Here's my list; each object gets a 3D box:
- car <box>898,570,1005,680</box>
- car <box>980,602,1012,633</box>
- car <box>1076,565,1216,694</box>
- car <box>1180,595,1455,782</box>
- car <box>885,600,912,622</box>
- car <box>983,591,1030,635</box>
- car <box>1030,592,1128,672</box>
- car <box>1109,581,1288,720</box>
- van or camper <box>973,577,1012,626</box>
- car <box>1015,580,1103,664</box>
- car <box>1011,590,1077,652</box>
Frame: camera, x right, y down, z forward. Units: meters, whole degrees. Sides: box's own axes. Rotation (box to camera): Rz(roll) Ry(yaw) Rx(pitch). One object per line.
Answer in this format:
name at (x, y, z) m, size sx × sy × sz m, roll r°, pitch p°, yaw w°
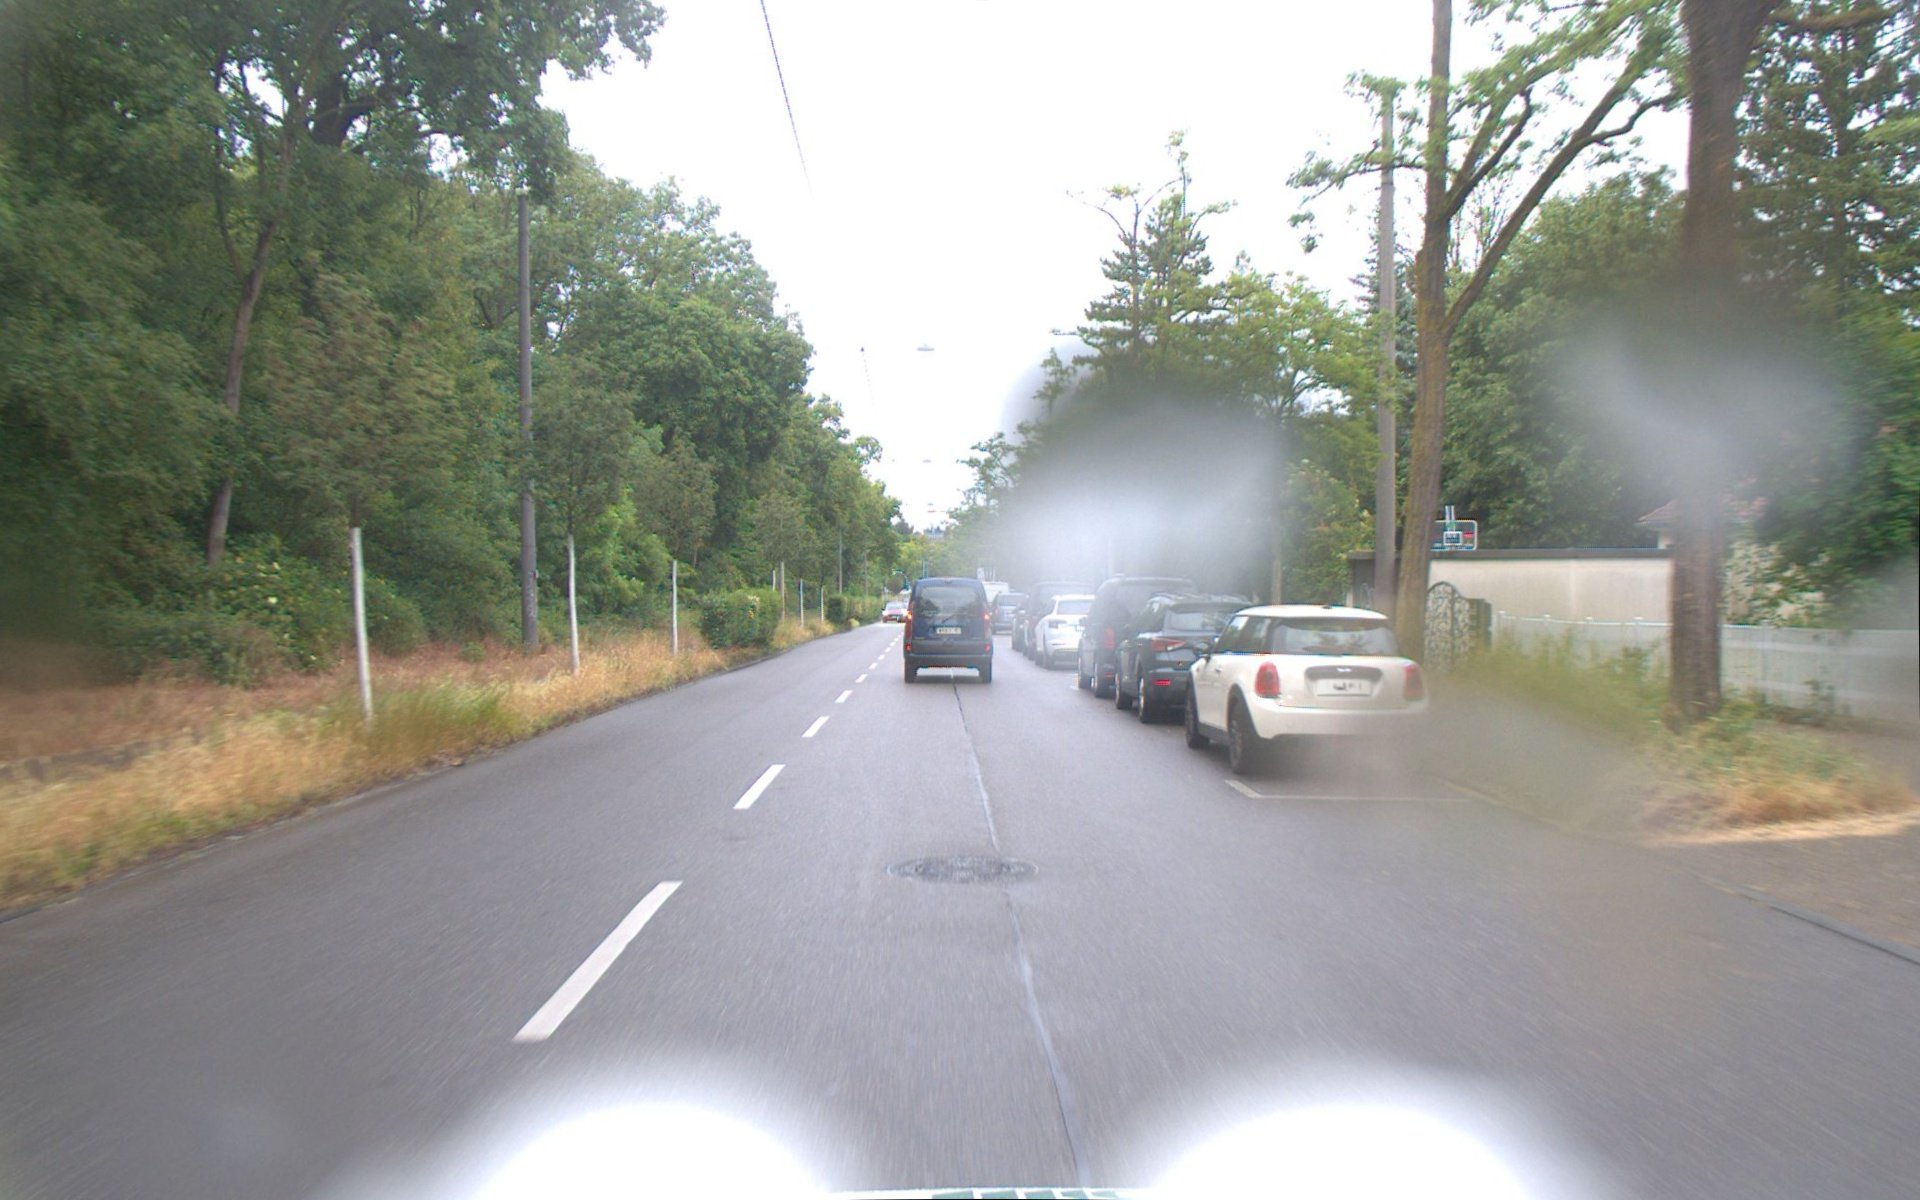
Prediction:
car at (-0.215, 0.417, 30.391) m, size 1.732 × 1.862 × 3.539 m, roll 1°, pitch 0°, yaw -4°
car at (1.906, 0.907, 86.713) m, size 1.592 × 1.489 × 3.809 m, roll 1°, pitch 1°, yaw 2°
car at (2.896, 0.412, 26.599) m, size 1.695 × 1.879 × 4.229 m, roll 1°, pitch 1°, yaw -1°
car at (3.201, 0.725, 15.512) m, size 1.702 × 1.490 × 3.724 m, roll 1°, pitch 1°, yaw -1°
car at (-4.372, 0.784, 118.077) m, size 1.822 × 1.506 × 4.156 m, roll -1°, pitch 0°, yaw 0°
car at (2.047, 0.572, 73.653) m, size 1.778 × 1.845 × 4.281 m, roll 1°, pitch 1°, yaw -3°
car at (2.621, 0.678, 37.254) m, size 1.768 × 1.641 × 4.285 m, roll 1°, pitch 1°, yaw -1°
car at (2.955, 0.569, 21.289) m, size 1.644 × 1.583 × 4.075 m, roll 1°, pitch 1°, yaw -1°
van or camper at (1.831, 0.051, 94.605) m, size 2.036 × 2.697 × 5.345 m, roll 1°, pitch 0°, yaw -1°
car at (2.556, 0.515, 43.641) m, size 1.953 × 2.049 × 4.887 m, roll 1°, pitch 1°, yaw 0°
car at (2.509, 0.589, 50.165) m, size 1.737 × 1.753 × 4.326 m, roll 1°, pitch 1°, yaw 0°
